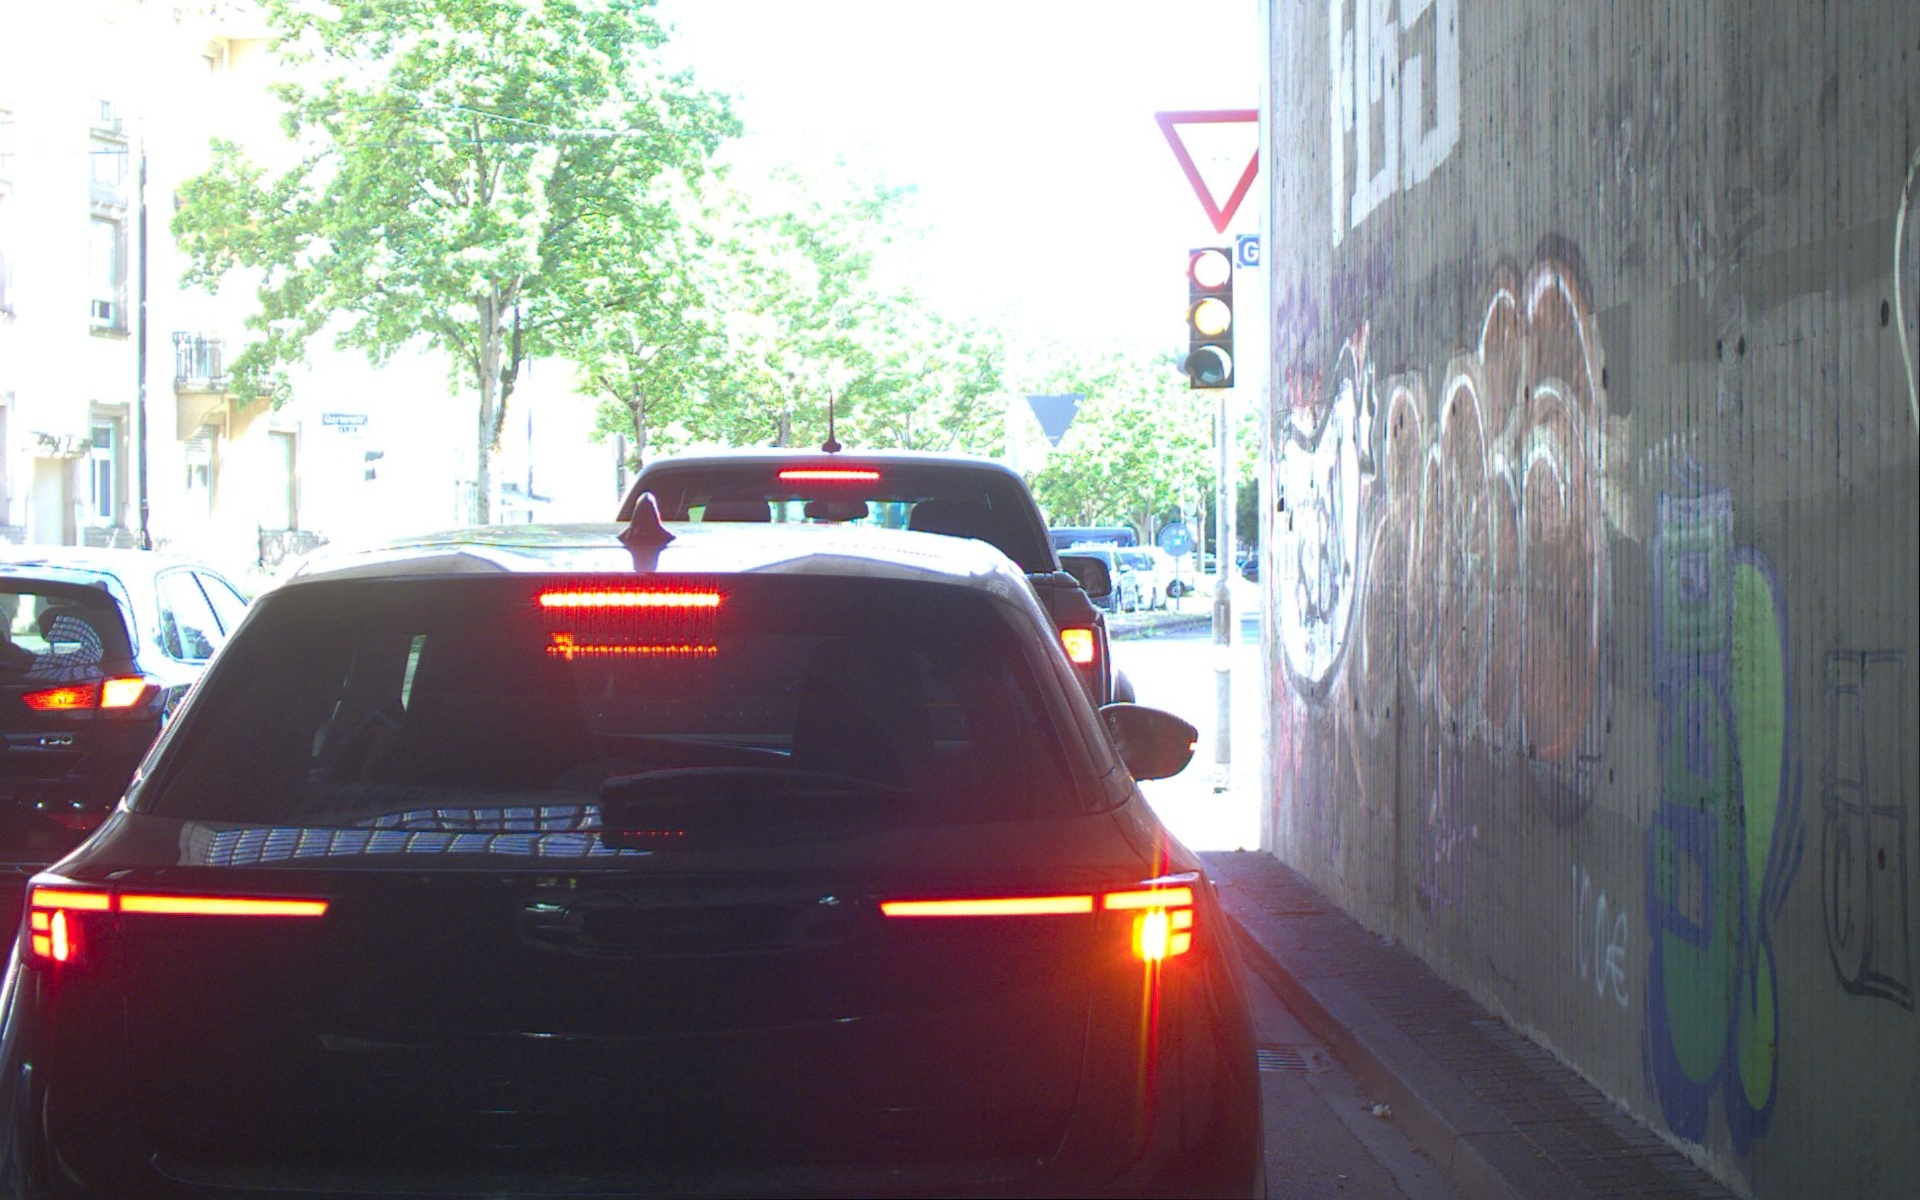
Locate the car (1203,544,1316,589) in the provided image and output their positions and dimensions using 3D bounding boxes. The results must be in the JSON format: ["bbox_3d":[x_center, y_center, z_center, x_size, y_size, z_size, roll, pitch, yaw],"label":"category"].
[{"bbox_3d":[14.042,-1.572,161.184,4.882,2.076,1.986,-1,0,-14],"label":"car"}]

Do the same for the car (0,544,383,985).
[{"bbox_3d":[-3.531,0.514,13.552,1.801,1.446,4.326,0,1,0],"label":"car"}]

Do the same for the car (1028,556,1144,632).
[{"bbox_3d":[2.548,-0.137,68.693,1.708,1.447,3.849,0,1,12],"label":"car"}]

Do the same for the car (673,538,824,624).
[{"bbox_3d":[-3.630,-0.352,59.525,1.658,1.436,3.461,0,1,14],"label":"car"}]

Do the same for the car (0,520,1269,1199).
[{"bbox_3d":[-0.544,0.631,6.059,1.781,1.512,3.756,1,1,-1],"label":"car"}]

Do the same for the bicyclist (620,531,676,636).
[{"bbox_3d":[-4.957,-0.266,54.666,0.782,1.654,1.031,0,1,1],"label":"bicyclist"}]

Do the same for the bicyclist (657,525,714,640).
[{"bbox_3d":[-4.152,-0.272,52.043,0.745,1.705,0.967,0,3,2],"label":"bicyclist"}]

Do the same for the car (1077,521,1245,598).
[{"bbox_3d":[6.774,-1.362,116.007,5.259,2.537,1.986,-1,0,-15],"label":"car"}]

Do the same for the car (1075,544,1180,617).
[{"bbox_3d":[3.680,-0.448,75.147,1.705,1.507,3.861,-2,1,11],"label":"car"}]

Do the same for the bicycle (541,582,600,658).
[{"bbox_3d":[-5.831,0.292,51.502,0.525,1.086,1.860,0,1,5],"label":"bicycle"}]

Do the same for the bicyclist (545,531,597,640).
[{"bbox_3d":[-5.832,-0.224,51.558,0.606,1.627,0.910,0,1,4],"label":"bicyclist"}]

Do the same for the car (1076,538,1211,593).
[{"bbox_3d":[7.186,-1.348,134.231,4.883,2.076,1.986,-1,0,-25],"label":"car"}]

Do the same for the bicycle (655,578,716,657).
[{"bbox_3d":[-4.135,0.250,51.911,0.698,1.086,1.860,0,3,3],"label":"bicycle"}]

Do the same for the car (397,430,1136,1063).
[{"bbox_3d":[-0.602,0.380,12.448,2.133,1.829,4.941,0,1,-1],"label":"car"}]

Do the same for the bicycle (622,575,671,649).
[{"bbox_3d":[-4.973,0.184,54.616,0.541,1.119,2.058,0,1,1],"label":"bicycle"}]
